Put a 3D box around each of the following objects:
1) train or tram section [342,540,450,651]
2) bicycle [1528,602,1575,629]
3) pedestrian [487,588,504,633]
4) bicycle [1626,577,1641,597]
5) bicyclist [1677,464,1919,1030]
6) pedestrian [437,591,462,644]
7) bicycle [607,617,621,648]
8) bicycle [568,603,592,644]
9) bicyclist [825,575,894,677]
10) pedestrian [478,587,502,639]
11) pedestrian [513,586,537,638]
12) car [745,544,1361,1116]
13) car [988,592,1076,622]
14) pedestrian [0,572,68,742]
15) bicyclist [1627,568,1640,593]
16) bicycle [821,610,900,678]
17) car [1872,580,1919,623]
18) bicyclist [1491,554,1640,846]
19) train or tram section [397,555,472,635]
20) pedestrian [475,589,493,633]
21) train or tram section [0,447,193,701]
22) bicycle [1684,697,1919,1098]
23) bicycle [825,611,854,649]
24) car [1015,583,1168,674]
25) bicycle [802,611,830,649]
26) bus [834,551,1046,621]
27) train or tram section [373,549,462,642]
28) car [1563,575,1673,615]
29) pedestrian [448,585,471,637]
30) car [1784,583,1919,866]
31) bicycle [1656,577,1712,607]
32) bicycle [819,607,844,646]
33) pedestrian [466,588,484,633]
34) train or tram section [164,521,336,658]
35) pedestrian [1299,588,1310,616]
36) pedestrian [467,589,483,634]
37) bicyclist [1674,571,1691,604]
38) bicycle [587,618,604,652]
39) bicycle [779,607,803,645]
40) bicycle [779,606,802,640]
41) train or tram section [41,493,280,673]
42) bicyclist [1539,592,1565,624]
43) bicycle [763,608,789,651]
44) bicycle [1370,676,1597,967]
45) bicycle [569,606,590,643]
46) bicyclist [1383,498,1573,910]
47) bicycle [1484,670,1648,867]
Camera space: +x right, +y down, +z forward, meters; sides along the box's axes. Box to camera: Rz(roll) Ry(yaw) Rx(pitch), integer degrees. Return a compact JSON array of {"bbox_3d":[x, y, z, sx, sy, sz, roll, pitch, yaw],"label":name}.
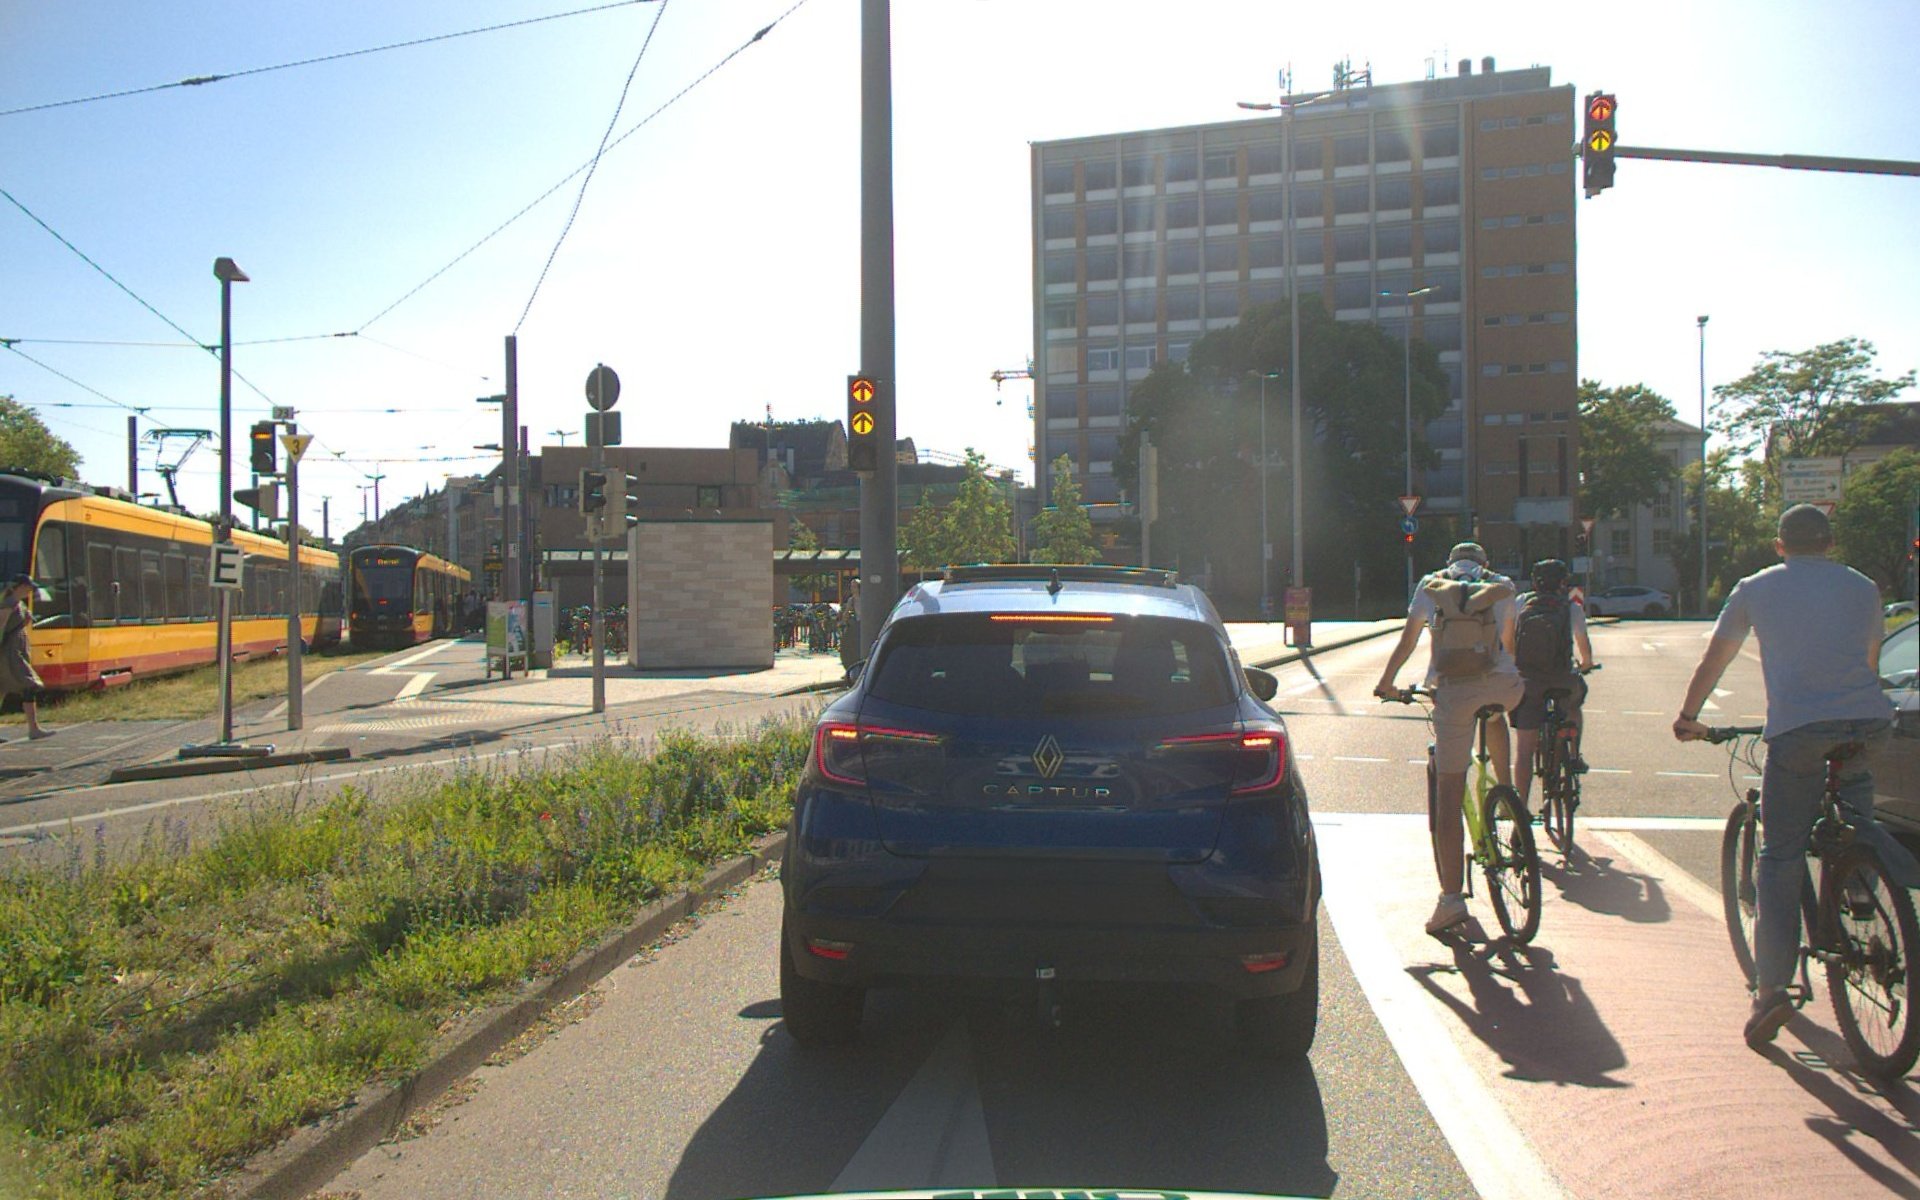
[{"bbox_3d":[-19.880,-0.148,58.811,2.823,3.569,10.502,0,0,-14],"label":"train or tram section"},{"bbox_3d":[34.395,0.914,96.111,2.766,1.568,0.877,1,-1,-25],"label":"bicycle"},{"bbox_3d":[-19.883,0.452,70.818,0.621,1.889,0.701,1,-1,-11],"label":"pedestrian"},{"bbox_3d":[39.371,-0.771,96.686,0.597,1.112,1.669,-1,0,29],"label":"bicycle"},{"bbox_3d":[3.009,0.468,5.811,0.733,1.807,1.015,0,0,14],"label":"bicyclist"},{"bbox_3d":[-18.605,0.645,60.255,0.833,1.916,0.757,1,-1,-16],"label":"pedestrian"},{"bbox_3d":[-10.960,1.015,52.456,0.414,0.954,1.375,1,0,-12],"label":"bicycle"},{"bbox_3d":[-10.495,0.663,45.723,0.556,1.112,2.023,1,-1,-11],"label":"bicycle"},{"bbox_3d":[-1.690,0.438,27.990,0.861,1.673,1.061,-1,-1,13],"label":"bicyclist"},{"bbox_3d":[-17.410,0.491,61.232,0.833,1.916,0.757,1,-1,-16],"label":"pedestrian"},{"bbox_3d":[-16.462,0.462,62.541,0.833,1.916,0.757,1,-1,-16],"label":"pedestrian"},{"bbox_3d":[0.416,0.656,6.667,1.785,1.628,3.661,1,0,5],"label":"car"},{"bbox_3d":[3.759,0.372,87.017,4.326,1.548,1.961,-1,-1,38],"label":"car"},{"bbox_3d":[-10.746,0.631,18.859,0.887,1.882,0.759,-1,2,-22],"label":"pedestrian"},{"bbox_3d":[39.342,-1.148,96.648,0.606,1.469,0.818,-1,0,29],"label":"bicyclist"},{"bbox_3d":[-1.668,0.725,27.984,0.756,1.099,2.037,-1,-1,13],"label":"bicycle"},{"bbox_3d":[44.297,0.098,75.416,4.573,1.933,1.992,0,-1,37],"label":"car"},{"bbox_3d":[3.625,0.561,9.978,0.706,1.654,1.056,1,0,13],"label":"bicyclist"},{"bbox_3d":[-25.047,-0.231,79.216,2.823,3.569,10.502,0,0,-14],"label":"train or tram section"},{"bbox_3d":[-20.912,0.480,72.614,0.688,1.889,0.632,1,-1,-12],"label":"pedestrian"},{"bbox_3d":[-15.583,-0.347,28.119,2.771,3.569,10.437,-1,0,-15],"label":"train or tram section"},{"bbox_3d":[3.059,0.947,5.869,0.598,1.096,1.831,0,0,14],"label":"bicycle"},{"bbox_3d":[-3.145,0.786,43.048,0.570,0.978,2.054,1,-1,-9],"label":"bicycle"},{"bbox_3d":[2.478,0.476,30.275,1.762,1.417,4.095,-1,2,20],"label":"car"},{"bbox_3d":[-3.745,0.780,42.952,0.570,0.978,2.054,1,-1,-9],"label":"bicycle"},{"bbox_3d":[-1.210,-0.639,86.694,12.212,3.455,2.868,-1,-2,40],"label":"bus"},{"bbox_3d":[-22.479,-0.157,68.984,2.823,3.569,10.502,0,0,-14],"label":"train or tram section"},{"bbox_3d":[29.177,-0.213,73.441,4.147,1.596,1.825,-3,0,4],"label":"car"},{"bbox_3d":[-18.506,0.412,61.128,0.779,1.889,0.603,1,-1,-16],"label":"pedestrian"},{"bbox_3d":[6.221,0.683,9.409,1.718,1.568,3.662,-1,0,9],"label":"car"},{"bbox_3d":[38.565,-0.401,88.124,2.746,1.568,0.883,0,-1,25],"label":"bicycle"},{"bbox_3d":[-3.794,0.775,48.682,0.570,1.107,2.054,1,-1,-9],"label":"bicycle"},{"bbox_3d":[-20.926,0.455,71.333,0.620,1.889,0.701,1,-1,-9],"label":"pedestrian"},{"bbox_3d":[-20.667,-0.252,48.848,2.768,3.569,11.170,0,0,-14],"label":"train or tram section"},{"bbox_3d":[20.701,0.115,99.395,0.551,1.699,0.474,-1,-2,36],"label":"pedestrian"},{"bbox_3d":[-20.599,0.487,70.249,0.623,1.889,0.699,1,-1,-20],"label":"pedestrian"},{"bbox_3d":[38.506,-0.642,88.130,0.841,1.721,0.884,0,-1,24],"label":"bicyclist"},{"bbox_3d":[-10.455,0.999,47.441,0.415,0.954,1.300,1,0,-15],"label":"bicycle"},{"bbox_3d":[-4.978,0.766,48.592,0.570,1.107,2.054,1,-1,-9],"label":"bicycle"},{"bbox_3d":[-5.752,0.782,56.054,0.570,1.107,1.866,1,-1,-11],"label":"bicycle"},{"bbox_3d":[-18.147,-0.332,38.344,2.768,3.569,10.573,0,0,-14],"label":"train or tram section"},{"bbox_3d":[34.401,0.447,96.114,1.142,1.829,0.877,1,-1,-25],"label":"bicyclist"},{"bbox_3d":[-4.739,0.766,42.561,0.570,1.076,1.812,1,-1,-9],"label":"bicycle"},{"bbox_3d":[2.381,0.951,7.730,0.648,1.065,1.892,0,1,6],"label":"bicycle"},{"bbox_3d":[-11.960,0.775,52.009,0.556,1.112,2.023,1,-1,-11],"label":"bicycle"},{"bbox_3d":[2.377,0.449,7.686,0.649,1.778,1.006,0,0,6],"label":"bicyclist"},{"bbox_3d":[3.636,0.966,10.060,0.707,0.976,1.885,1,0,13],"label":"bicycle"}]
